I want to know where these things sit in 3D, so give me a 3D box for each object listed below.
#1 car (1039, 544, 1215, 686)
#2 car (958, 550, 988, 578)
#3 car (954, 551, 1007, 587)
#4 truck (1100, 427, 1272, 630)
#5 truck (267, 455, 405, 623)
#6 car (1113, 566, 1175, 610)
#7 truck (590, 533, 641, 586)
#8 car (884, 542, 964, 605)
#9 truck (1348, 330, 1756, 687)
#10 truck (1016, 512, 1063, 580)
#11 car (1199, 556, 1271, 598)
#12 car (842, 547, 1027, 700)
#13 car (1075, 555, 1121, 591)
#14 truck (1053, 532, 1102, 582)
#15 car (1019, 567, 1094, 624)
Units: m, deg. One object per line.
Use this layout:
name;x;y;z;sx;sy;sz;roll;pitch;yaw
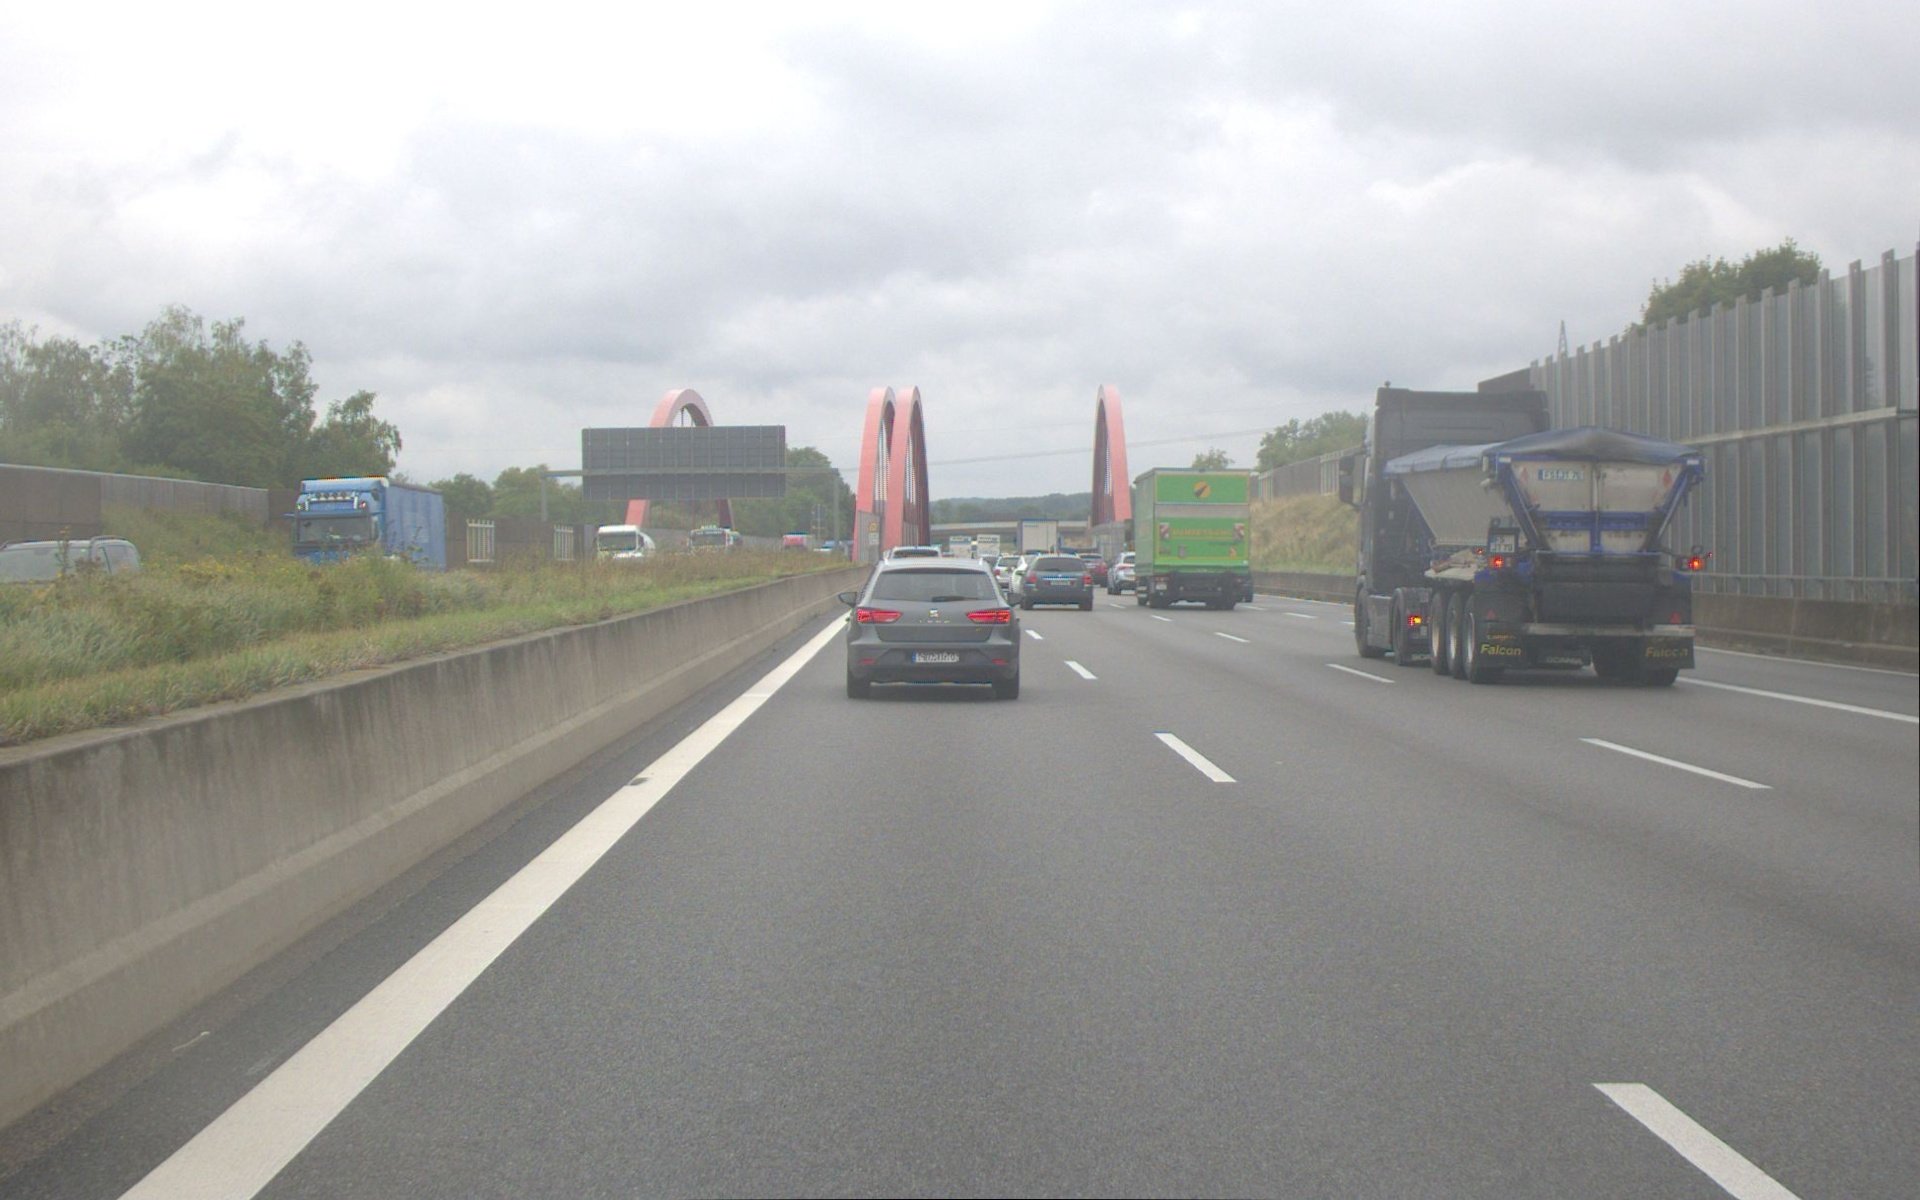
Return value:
car;2.103;0.152;44.292;1.993;1.744;4.000;0;1;-1
car;0.883;-2.465;234.208;1.993;1.809;4.000;1;1;0
car;0.813;-1.241;136.230;1.993;1.349;4.000;0;1;-1
truck;6.193;-1.950;96.204;3.997;5.248;11.220;1;1;0
truck;-18.727;-1.814;103.435;3.188;4.842;5.419;1;1;-2
car;6.969;-0.470;130.445;1.993;1.613;5.328;1;1;-1
truck;-20.225;-2.374;201.874;2.621;3.009;5.614;1;1;-3
car;-0.942;-0.708;88.742;1.993;1.579;4.000;0;1;-1
truck;7.311;-1.088;44.677;3.089;3.936;12.945;0;1;0
truck;5.622;-3.822;243.943;3.044;4.718;7.680;1;1;0
car;9.028;-0.765;113.075;1.993;1.349;4.000;0;1;-1
car;-0.229;0.197;35.134;1.764;1.448;4.000;1;1;1
car;6.540;-1.301;162.975;1.957;1.641;4.000;1;1;0
truck;6.125;-2.255;179.359;2.361;2.498;6.144;1;1;0
car;2.474;-0.126;88.665;1.782;1.401;3.626;1;1;0
